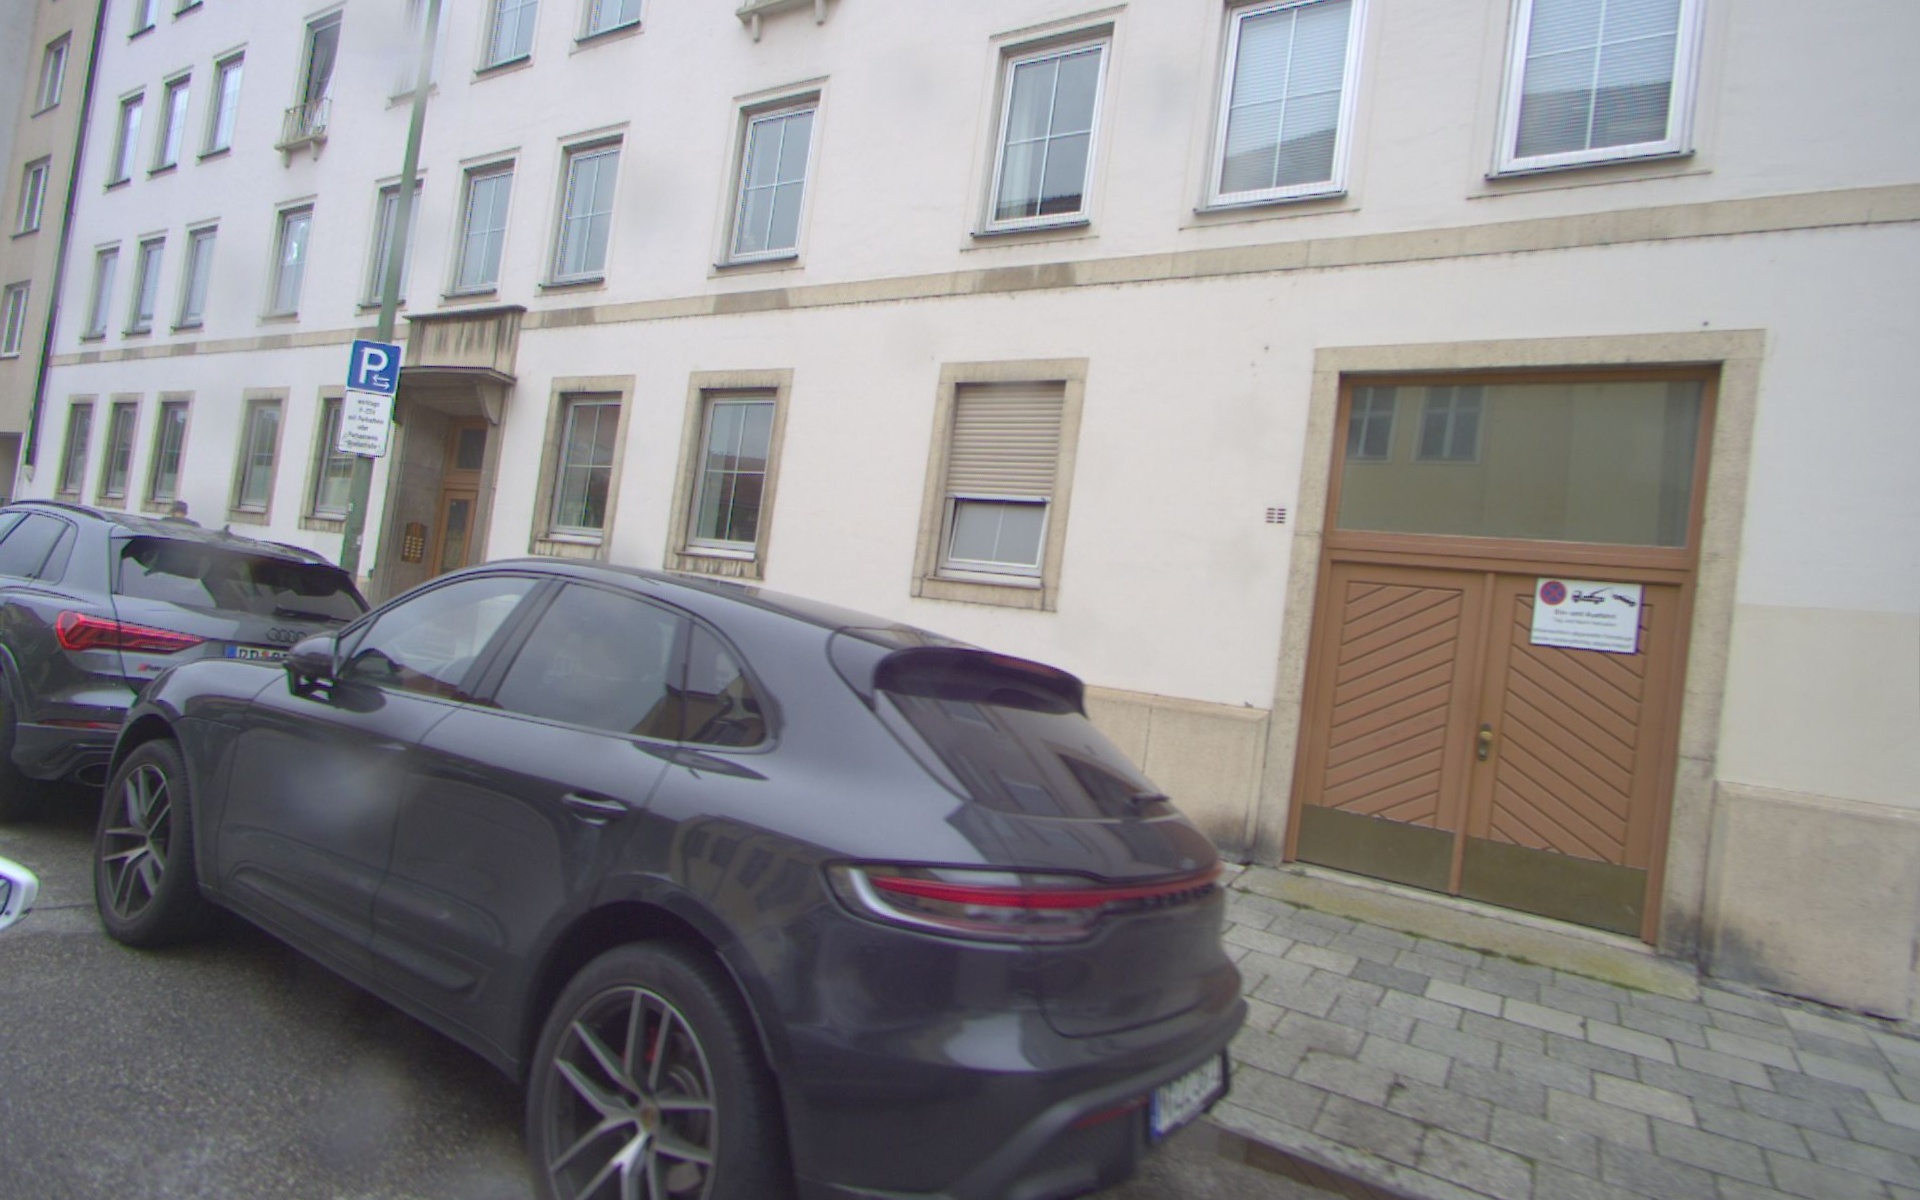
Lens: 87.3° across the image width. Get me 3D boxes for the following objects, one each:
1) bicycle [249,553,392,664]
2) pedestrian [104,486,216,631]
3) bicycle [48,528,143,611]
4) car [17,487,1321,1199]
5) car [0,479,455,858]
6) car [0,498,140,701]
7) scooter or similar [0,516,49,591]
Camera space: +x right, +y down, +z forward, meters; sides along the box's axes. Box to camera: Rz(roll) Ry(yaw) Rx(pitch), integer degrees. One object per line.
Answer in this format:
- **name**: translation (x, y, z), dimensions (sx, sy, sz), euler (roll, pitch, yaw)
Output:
- **bicycle**: translation (-8.615, 0.100, 13.536), dimensions (1.953, 1.236, 0.514), euler (7, -1, 25)
- **pedestrian**: translation (-10.600, -0.545, 13.338), dimensions (0.890, 1.782, 0.724), euler (4, -4, 32)
- **bicycle**: translation (-15.023, -0.550, 17.464), dimensions (2.068, 1.231, 0.531), euler (6, -3, 32)
- **car**: translation (-1.353, 0.617, 3.689), dimensions (4.632, 1.538, 1.845), euler (6, -4, 33)
- **car**: translation (-5.350, 0.233, 6.206), dimensions (4.558, 1.605, 1.651), euler (6, -6, 32)
- **car**: translation (-9.716, -0.282, 9.019), dimensions (5.230, 1.499, 1.810), euler (6, -6, 31)
- **scooter or similar**: translation (-18.694, -0.932, 19.718), dimensions (1.561, 1.373, 0.441), euler (4, -3, 20)
